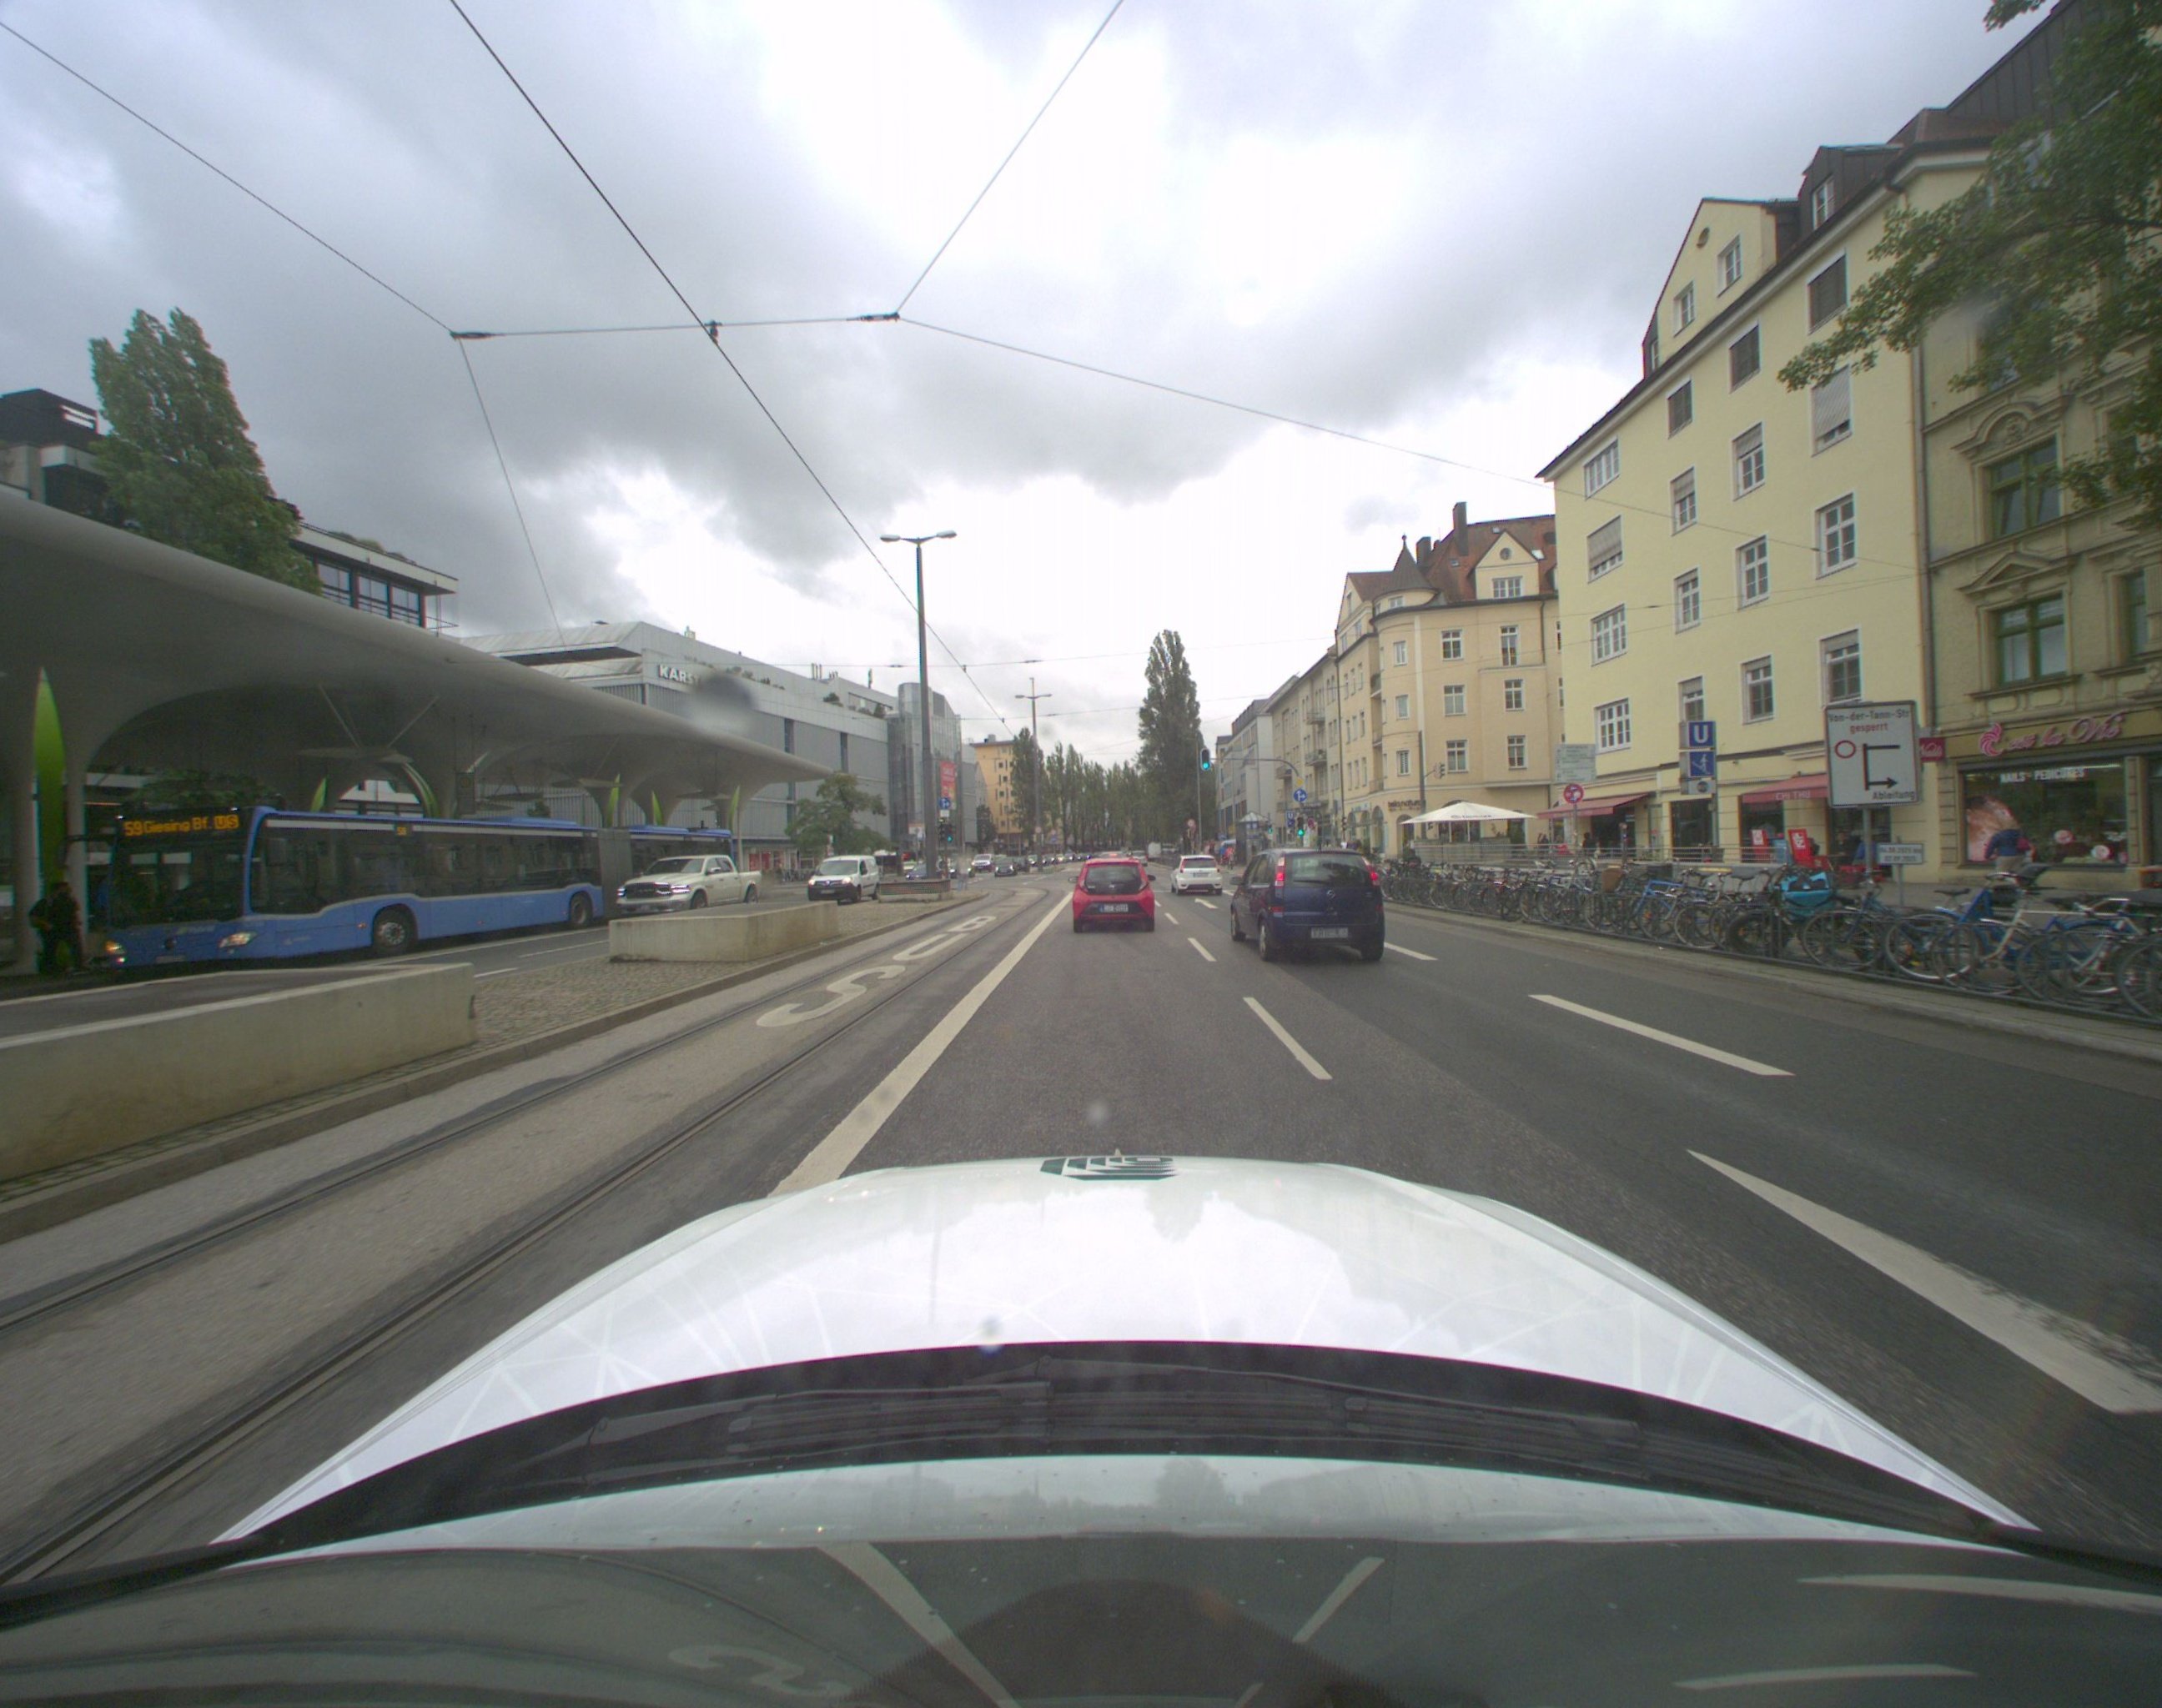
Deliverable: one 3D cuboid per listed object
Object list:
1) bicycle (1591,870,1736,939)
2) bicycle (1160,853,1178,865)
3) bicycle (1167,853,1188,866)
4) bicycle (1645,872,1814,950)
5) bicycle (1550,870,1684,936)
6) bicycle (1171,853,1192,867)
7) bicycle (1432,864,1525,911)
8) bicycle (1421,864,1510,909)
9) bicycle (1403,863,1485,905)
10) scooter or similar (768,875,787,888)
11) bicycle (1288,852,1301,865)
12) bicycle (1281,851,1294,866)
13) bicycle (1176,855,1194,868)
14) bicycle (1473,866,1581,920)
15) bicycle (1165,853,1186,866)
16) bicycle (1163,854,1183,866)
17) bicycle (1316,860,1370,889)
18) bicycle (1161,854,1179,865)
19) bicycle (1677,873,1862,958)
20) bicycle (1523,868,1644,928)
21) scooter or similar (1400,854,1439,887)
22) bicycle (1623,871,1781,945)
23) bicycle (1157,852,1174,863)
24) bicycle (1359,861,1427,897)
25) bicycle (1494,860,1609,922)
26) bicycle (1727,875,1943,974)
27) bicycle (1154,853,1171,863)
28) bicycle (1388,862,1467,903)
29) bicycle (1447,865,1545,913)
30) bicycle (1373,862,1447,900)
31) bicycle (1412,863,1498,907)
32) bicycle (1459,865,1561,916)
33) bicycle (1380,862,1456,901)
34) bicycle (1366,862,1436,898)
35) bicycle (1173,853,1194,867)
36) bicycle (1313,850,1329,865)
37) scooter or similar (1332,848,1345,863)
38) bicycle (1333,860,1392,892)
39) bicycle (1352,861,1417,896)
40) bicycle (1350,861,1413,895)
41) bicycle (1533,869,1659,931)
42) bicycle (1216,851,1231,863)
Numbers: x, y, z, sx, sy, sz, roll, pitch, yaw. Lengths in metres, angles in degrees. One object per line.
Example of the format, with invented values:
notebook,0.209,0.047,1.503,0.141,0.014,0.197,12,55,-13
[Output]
bicycle,9.054,0.759,12.724,1.818,0.995,0.327,0,1,39
bicycle,8.924,0.519,83.035,1.815,1.168,0.590,-2,0,45
bicycle,8.874,0.536,74.757,1.781,1.158,0.490,-2,0,32
bicycle,8.985,0.763,11.353,1.818,0.995,0.327,0,1,39
bicycle,8.820,0.775,13.461,0.327,0.995,1.819,-2,2,-43
bicycle,8.871,0.522,71.947,1.782,1.158,0.551,-2,0,40
bicycle,8.906,0.762,18.316,0.350,0.996,1.819,-2,-1,-44
bicycle,8.960,0.760,19.033,0.350,0.996,1.819,-2,-1,-44
bicycle,9.043,0.756,20.333,1.818,0.996,0.350,-3,-1,42
scooter or similar,-25.405,2.292,68.145,1.393,0.982,0.415,-2,0,3
bicycle,15.875,0.341,60.675,0.492,0.975,1.867,-2,0,2
bicycle,15.377,0.342,60.708,0.564,1.107,1.867,-2,0,2
bicycle,8.809,0.627,69.037,0.502,1.028,1.583,-2,0,-40
bicycle,8.828,0.768,16.188,0.327,0.996,1.819,-2,0,-44
bicycle,8.822,0.544,76.137,1.781,1.158,0.656,-2,0,38
bicycle,8.831,0.562,78.201,1.781,1.111,0.656,-2,0,39
bicycle,9.234,0.733,28.782,0.350,0.996,1.819,-2,-1,-43
bicycle,8.907,0.553,81.706,1.782,1.111,0.590,-2,0,45
bicycle,8.939,0.764,10.643,1.819,0.995,0.327,0,2,44
bicycle,9.045,0.771,14.726,1.819,0.995,0.327,0,2,42
scooter or similar,11.517,0.545,27.760,0.773,1.075,1.256,-2,0,0
bicycle,9.070,0.761,11.954,1.818,0.995,0.327,0,1,39
bicycle,9.143,0.357,87.955,1.815,1.136,0.590,-2,0,45
bicycle,9.105,0.746,23.833,0.350,0.996,1.819,-2,-1,-45
bicycle,8.926,0.708,15.483,1.818,1.112,0.470,-2,0,34
bicycle,8.687,0.772,9.466,0.327,0.995,1.820,-2,2,-41
bicycle,9.213,0.460,91.645,1.814,1.136,0.590,-2,0,38
bicycle,8.976,0.754,21.144,1.818,0.996,0.350,-3,-1,42
bicycle,8.949,0.764,17.625,1.818,0.996,0.350,-3,-1,42
bicycle,9.060,0.750,22.481,1.818,0.996,0.350,-3,-1,42
bicycle,9.020,0.758,19.678,1.818,0.996,0.350,-3,-1,42
bicycle,8.900,0.765,16.961,0.350,0.996,1.819,-2,-1,-44
bicycle,9.014,0.752,21.816,1.818,0.996,0.350,-3,-1,42
bicycle,9.080,0.748,23.168,0.350,0.996,1.819,-2,-1,-45
bicycle,8.873,0.538,70.552,0.562,1.198,1.782,-2,0,-44
bicycle,17.863,0.278,60.614,0.493,1.059,1.865,-2,0,-2
scooter or similar,18.063,0.121,57.110,0.812,0.994,0.597,-2,3,24
bicycle,9.194,0.739,26.625,0.350,0.996,1.819,-2,-1,-43
bicycle,9.120,0.745,24.550,0.350,0.996,1.819,-2,-1,-45
bicycle,9.254,0.743,25.115,0.350,0.996,1.820,-2,-1,-42
bicycle,8.910,0.773,14.152,1.819,0.995,0.327,0,2,42
bicycle,13.748,0.316,78.681,1.412,1.077,0.369,-3,0,3
